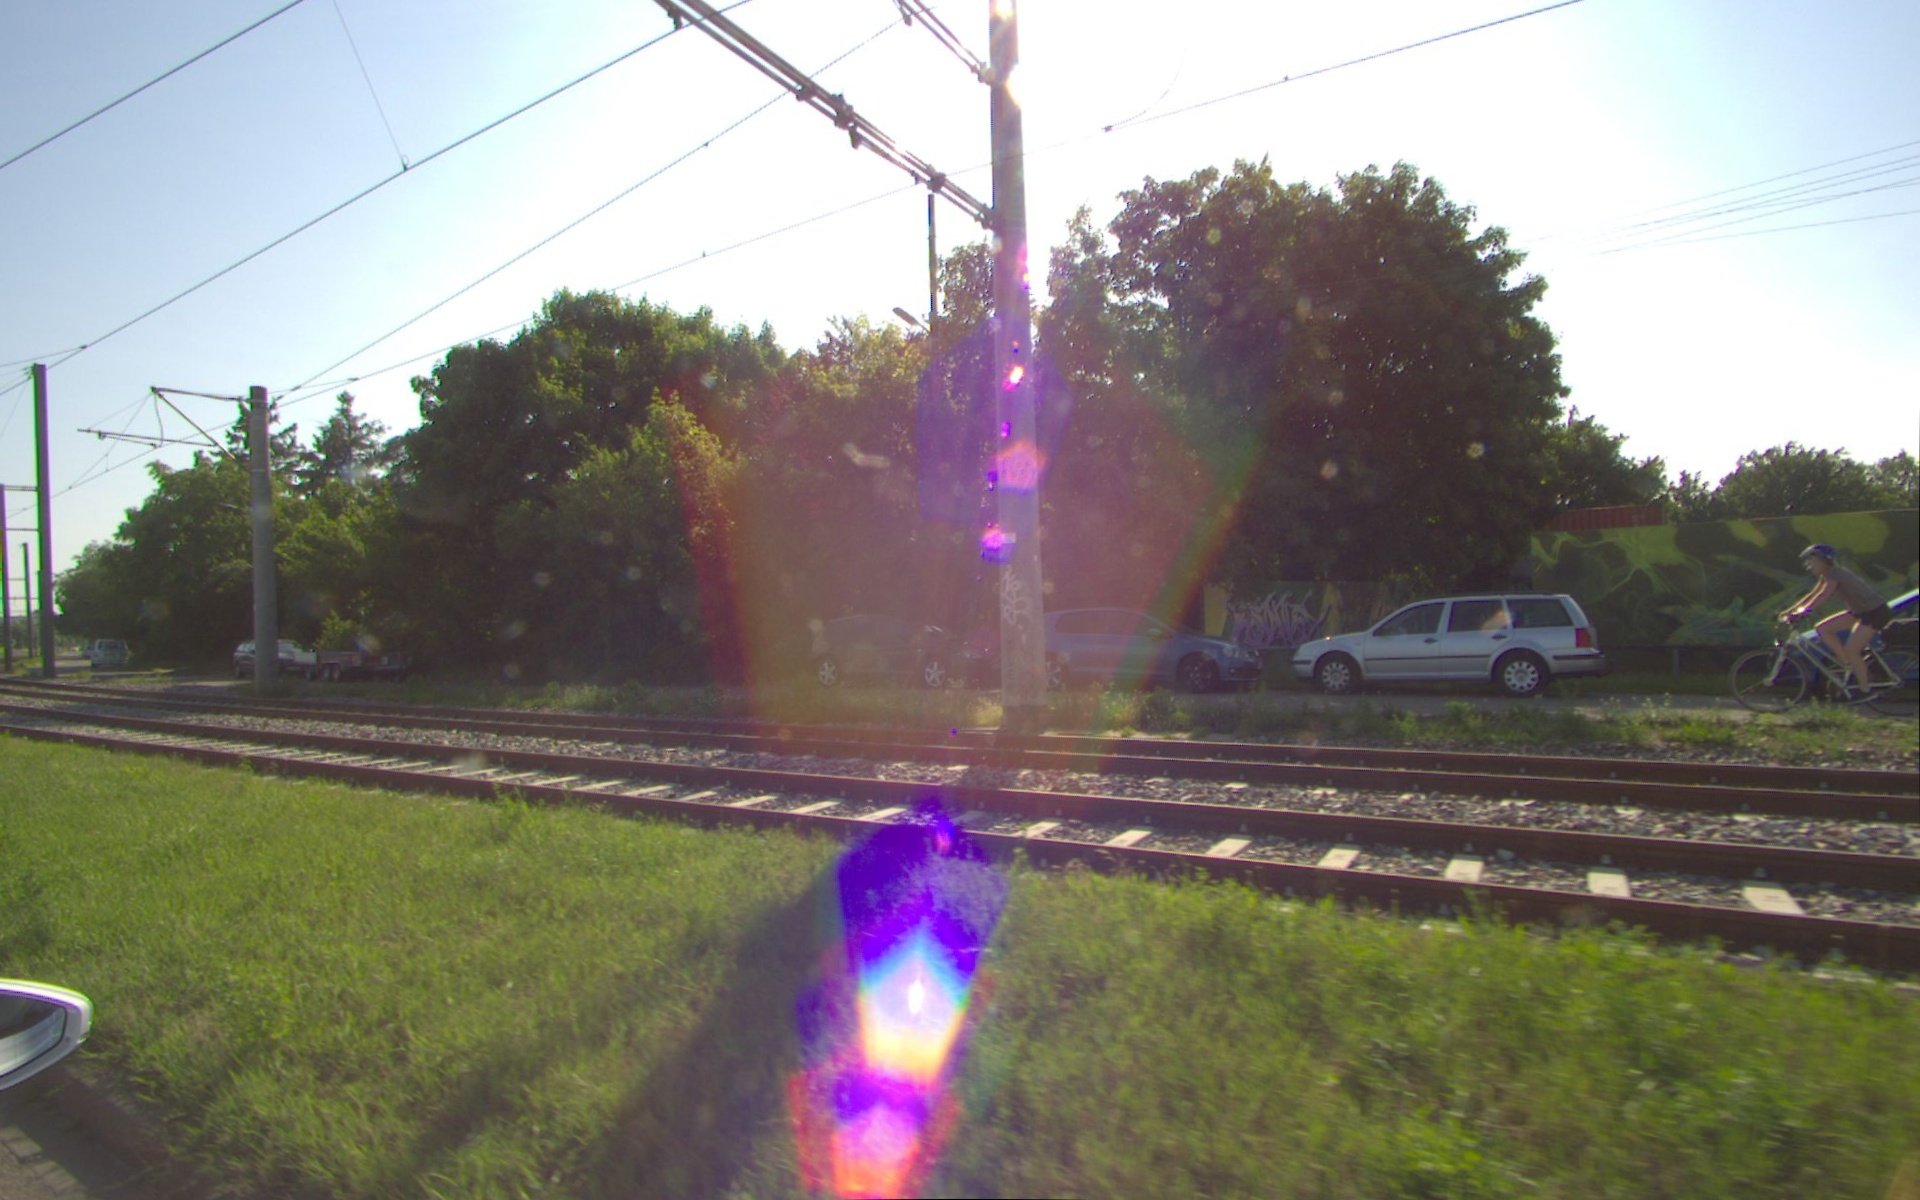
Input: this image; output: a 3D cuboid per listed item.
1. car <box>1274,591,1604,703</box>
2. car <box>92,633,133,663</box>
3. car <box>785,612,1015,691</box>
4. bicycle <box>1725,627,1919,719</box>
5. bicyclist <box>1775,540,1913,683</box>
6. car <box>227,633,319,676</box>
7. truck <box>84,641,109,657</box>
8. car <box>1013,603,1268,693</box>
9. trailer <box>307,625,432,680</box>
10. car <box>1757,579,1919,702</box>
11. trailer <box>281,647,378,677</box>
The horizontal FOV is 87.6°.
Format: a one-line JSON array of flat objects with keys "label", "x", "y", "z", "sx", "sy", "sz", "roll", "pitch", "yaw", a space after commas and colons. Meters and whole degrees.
[{"label": "car", "x": 7.196, "y": 0.669, "z": 15.226, "sx": 4.328, "sy": 1.484, "sz": 1.705, "roll": -1, "pitch": 0, "yaw": 33}, {"label": "car", "x": -59.955, "y": 3.428, "z": 70.816, "sx": 1.980, "sy": 2.029, "sz": 5.022, "roll": 3, "pitch": -4, "yaw": -42}, {"label": "car", "x": -1.254, "y": 1.026, "z": 20.013, "sx": 4.455, "sy": 1.428, "sz": 1.620, "roll": -2, "pitch": -2, "yaw": 31}, {"label": "bicycle", "x": 9.326, "y": 0.762, "z": 10.634, "sx": 1.816, "sy": 0.921, "sz": 0.642, "roll": -2, "pitch": -1, "yaw": 30}, {"label": "bicyclist", "x": 9.344, "y": 0.133, "z": 10.624, "sx": 0.948, "sy": 1.440, "sz": 0.628, "roll": -1, "pitch": -1, "yaw": 29}, {"label": "car", "x": -25.402, "y": 1.990, "z": 36.950, "sx": 4.826, "sy": 1.474, "sz": 1.691, "roll": -2, "pitch": -3, "yaw": 42}, {"label": "truck", "x": -109.461, "y": 6.223, "z": 126.905, "sx": 2.188, "sy": 1.842, "sz": 5.877, "roll": -1, "pitch": -2, "yaw": -42}, {"label": "car", "x": 3.100, "y": 0.826, "z": 17.409, "sx": 4.086, "sy": 1.419, "sz": 1.483, "roll": -2, "pitch": 0, "yaw": 28}, {"label": "trailer", "x": -18.610, "y": 1.641, "z": 31.518, "sx": 4.208, "sy": 1.616, "sz": 2.019, "roll": -2, "pitch": -3, "yaw": 39}, {"label": "car", "x": 12.210, "y": 0.486, "z": 12.113, "sx": 3.858, "sy": 1.448, "sz": 1.674, "roll": -1, "pitch": -2, "yaw": 35}, {"label": "trailer", "x": -21.568, "y": 2.107, "z": 34.206, "sx": 3.684, "sy": 0.951, "sz": 1.725, "roll": -2, "pitch": -4, "yaw": 39}]
